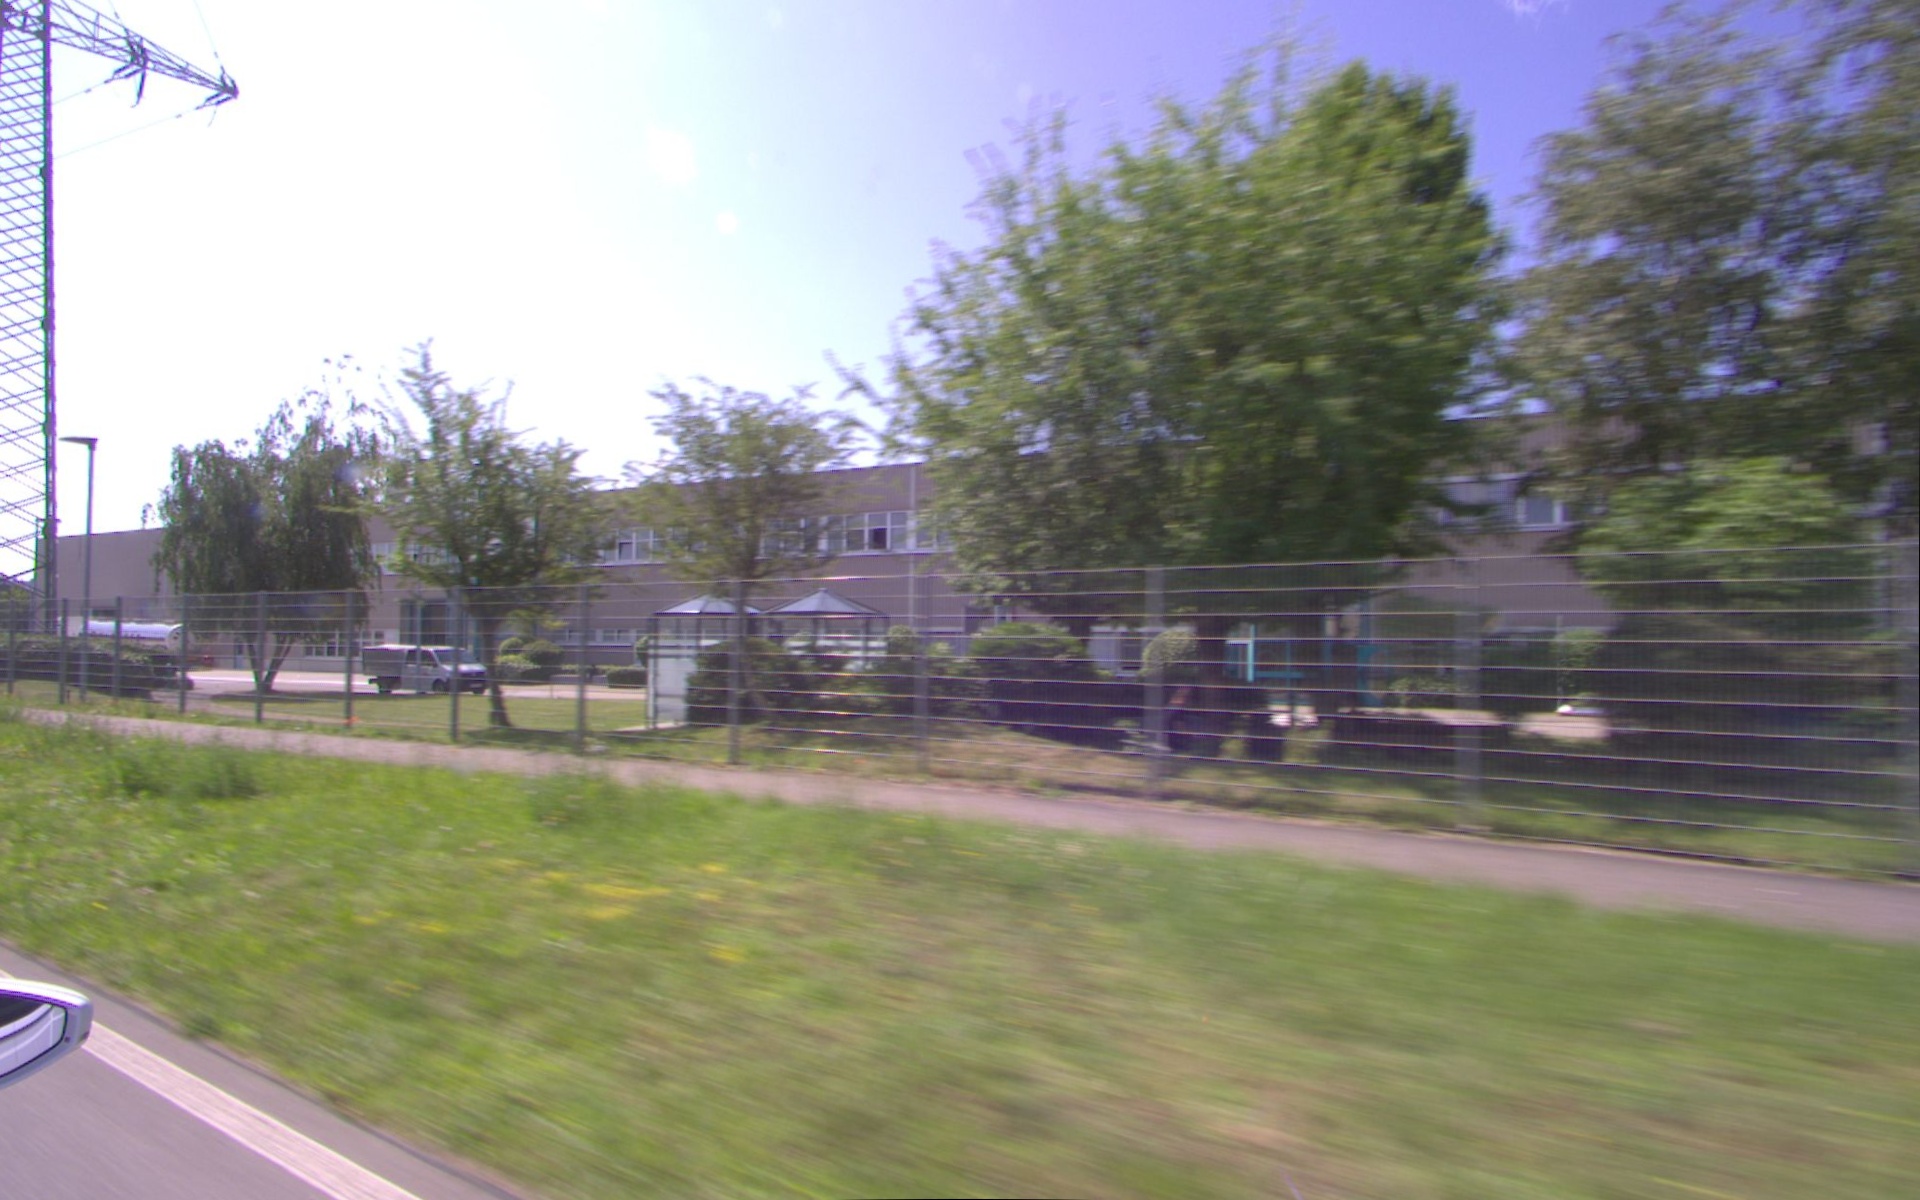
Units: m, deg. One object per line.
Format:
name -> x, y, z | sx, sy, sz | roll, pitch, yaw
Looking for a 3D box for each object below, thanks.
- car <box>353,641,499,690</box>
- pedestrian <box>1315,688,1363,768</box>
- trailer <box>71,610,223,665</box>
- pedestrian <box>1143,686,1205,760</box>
car -> -21.313, 2.590, 39.959 | 5.561, 1.801, 2.112 | 0, -3, 24
pedestrian -> 4.590, 1.543, 12.151 | 0.502, 0.904, 0.666 | 0, -3, 17
trailer -> -58.805, 2.627, 72.341 | 12.037, 3.783, 3.592 | 0, -1, 25
pedestrian -> 2.789, 1.582, 13.016 | 0.656, 0.904, 0.510 | 0, -3, 30
